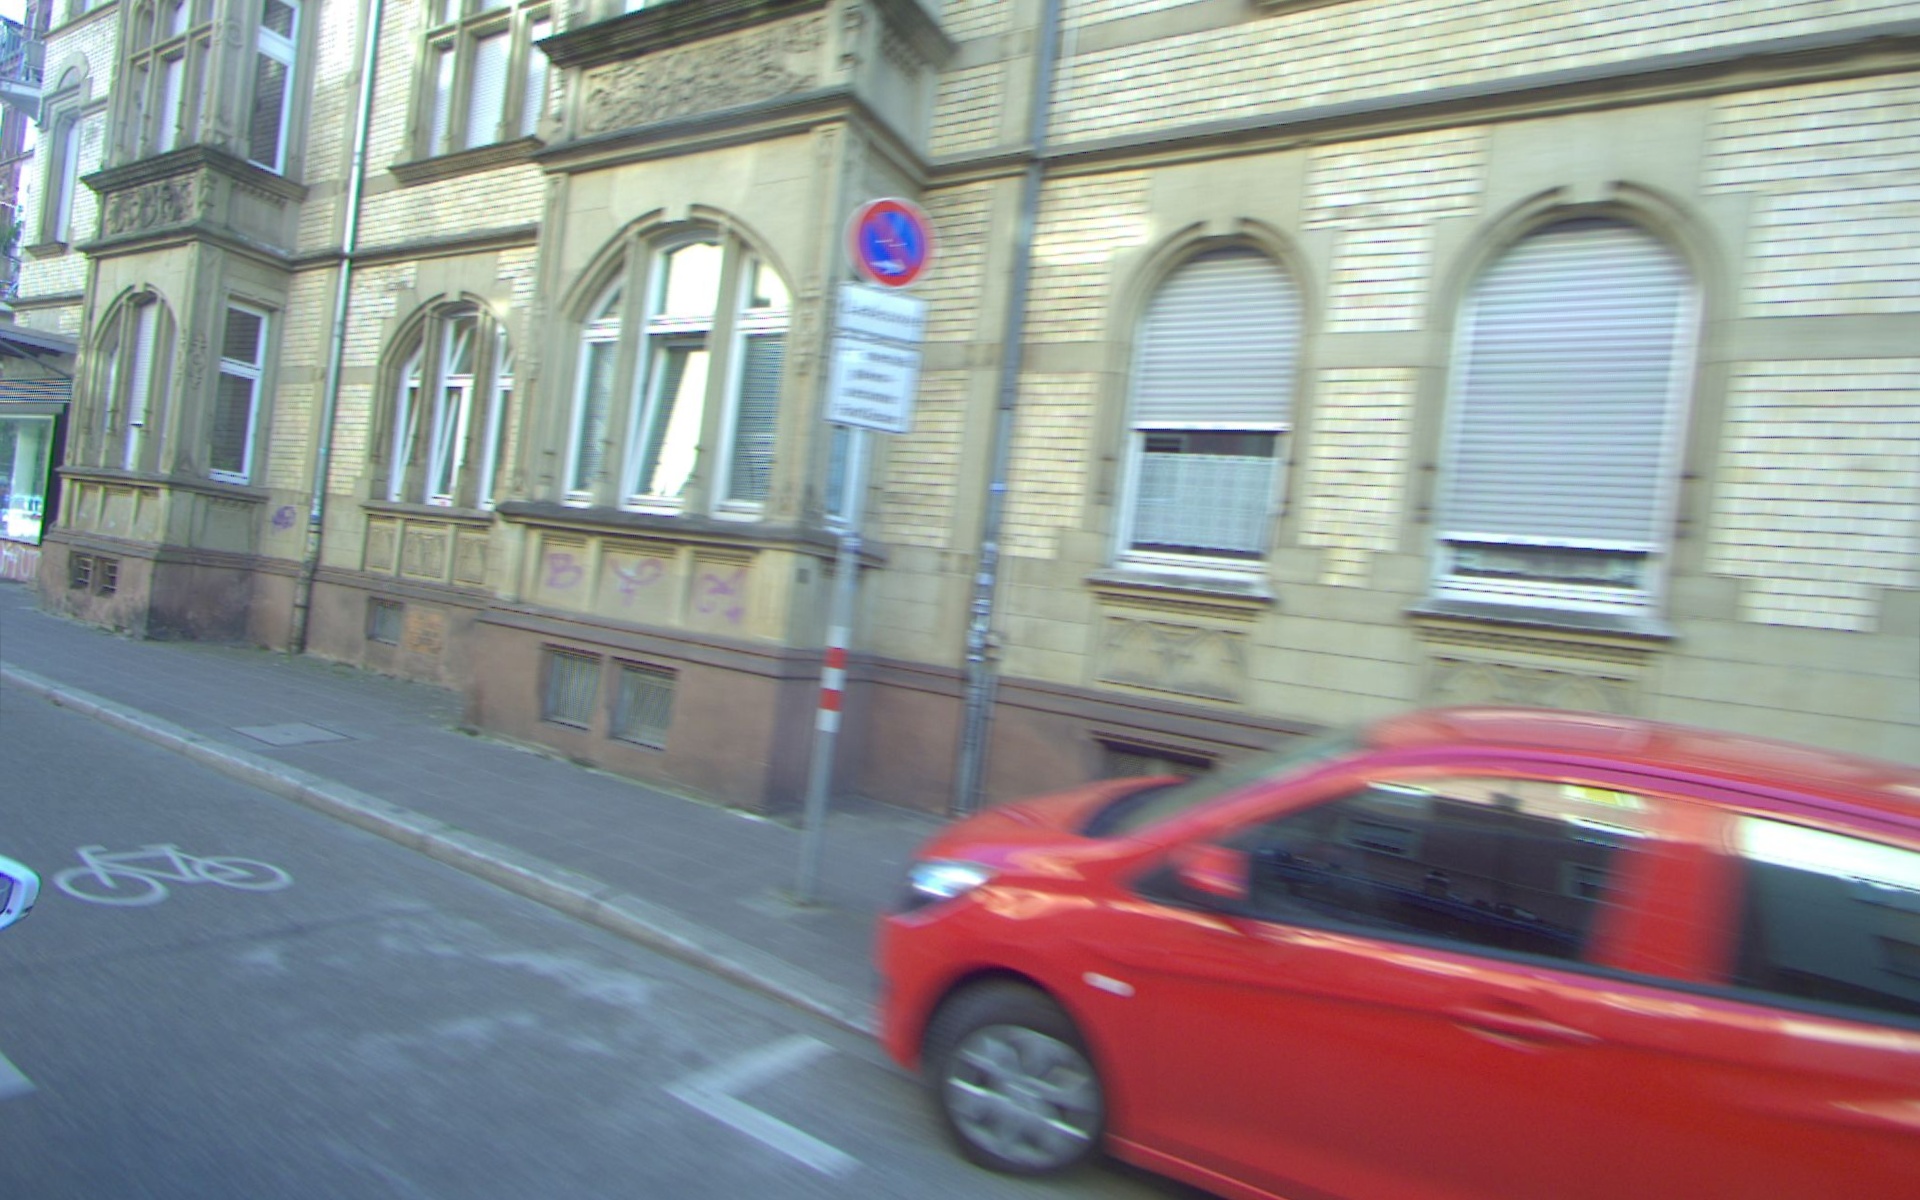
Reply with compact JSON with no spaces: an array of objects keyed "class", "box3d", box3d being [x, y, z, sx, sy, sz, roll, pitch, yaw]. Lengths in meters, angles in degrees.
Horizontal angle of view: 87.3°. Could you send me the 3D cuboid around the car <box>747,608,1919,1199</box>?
[{"class":"car","box3d":[1.694,1.005,2.897,4.327,1.502,1.866,6,2,31]}]
